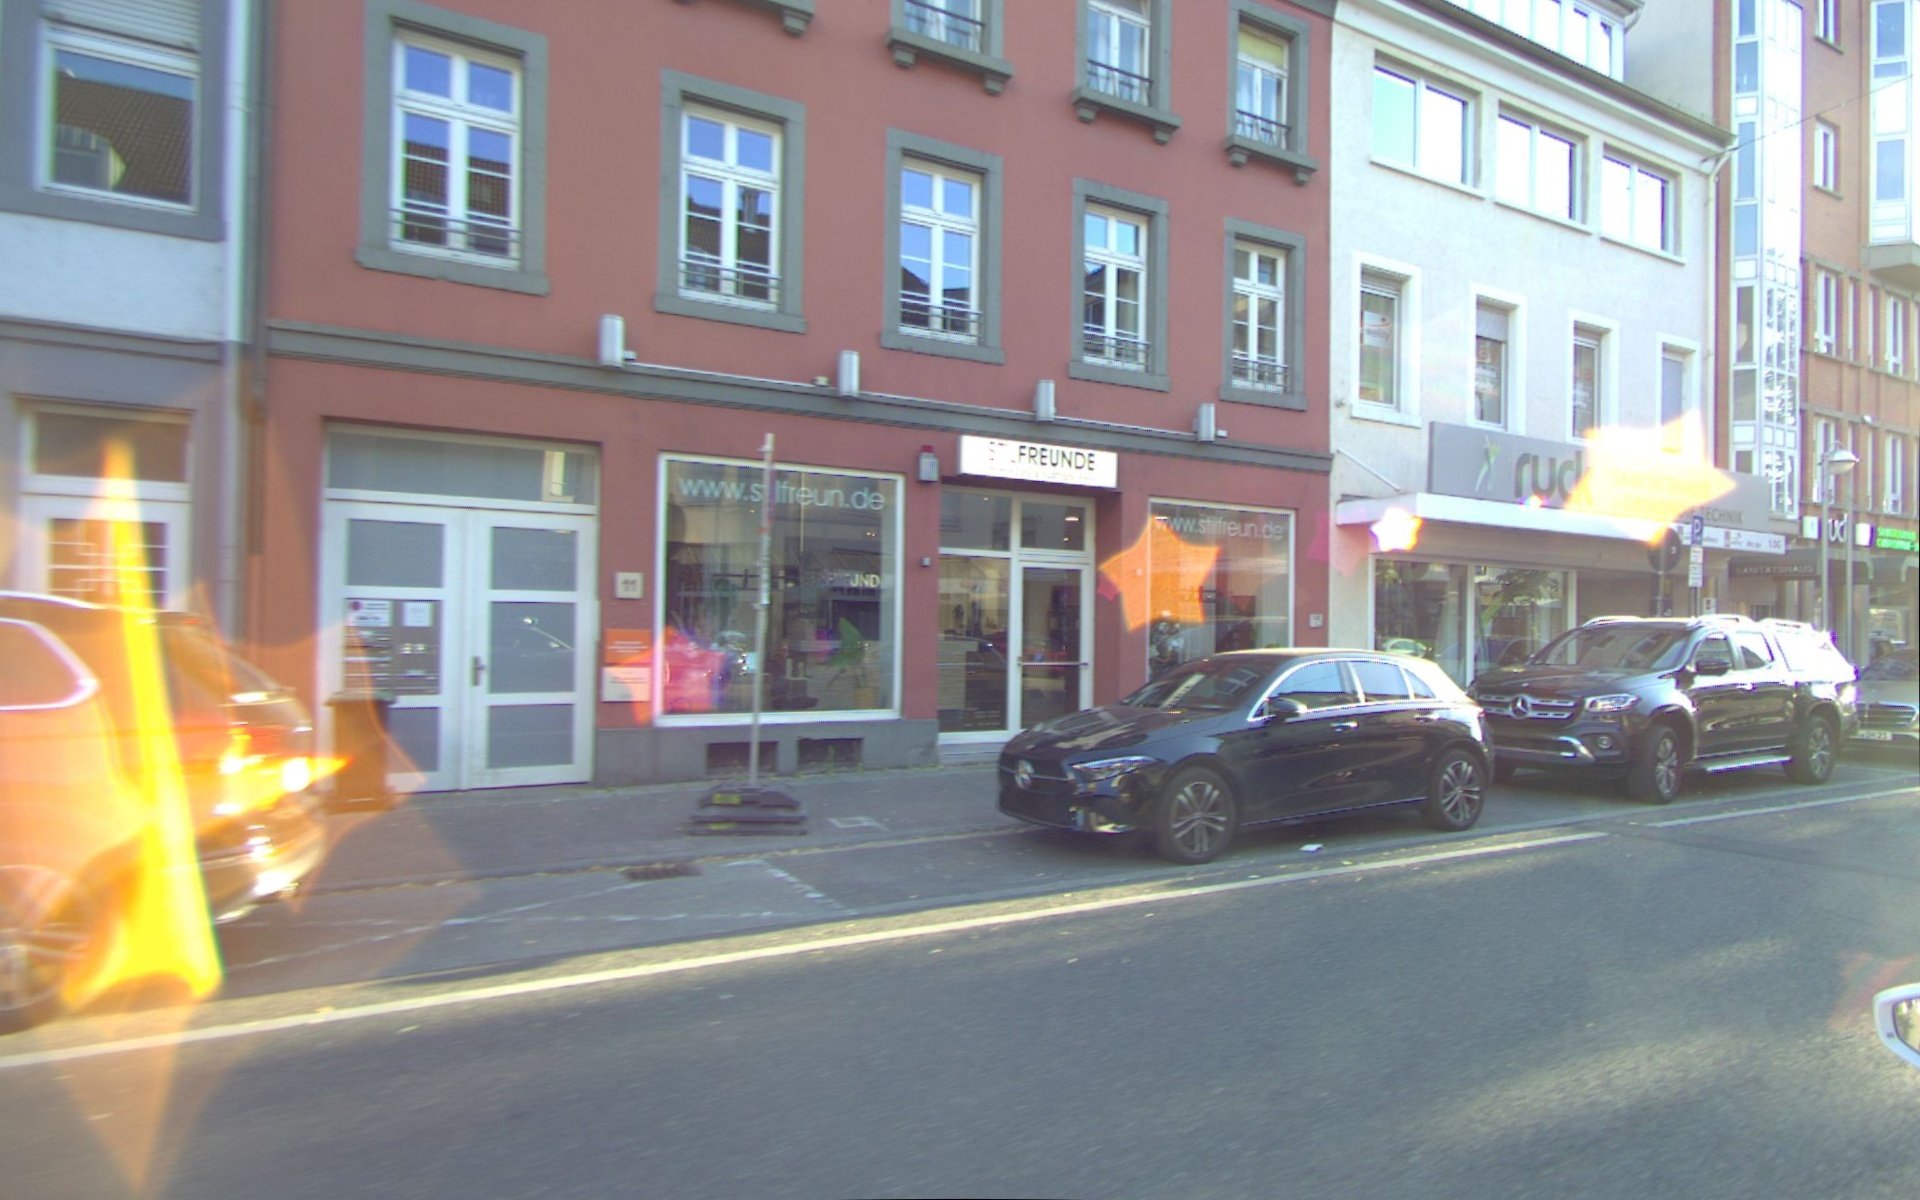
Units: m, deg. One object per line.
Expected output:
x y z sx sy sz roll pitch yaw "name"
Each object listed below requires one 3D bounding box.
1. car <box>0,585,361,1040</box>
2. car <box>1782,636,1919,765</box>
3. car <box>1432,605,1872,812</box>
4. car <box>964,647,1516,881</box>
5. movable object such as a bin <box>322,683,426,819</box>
-4.907 0.790 3.966 4.182 1.654 1.768 1 -3 -27 "car"
13.794 1.308 13.892 5.068 1.576 1.821 1 -3 -27 "car"
7.694 1.056 11.027 5.283 1.834 1.820 2 -3 -29 "car"
2.300 1.113 8.059 4.254 1.459 1.707 1 -3 -27 "car"
-4.663 1.183 8.024 0.662 1.002 0.428 1 -1 -27 "movable object such as a bin"
